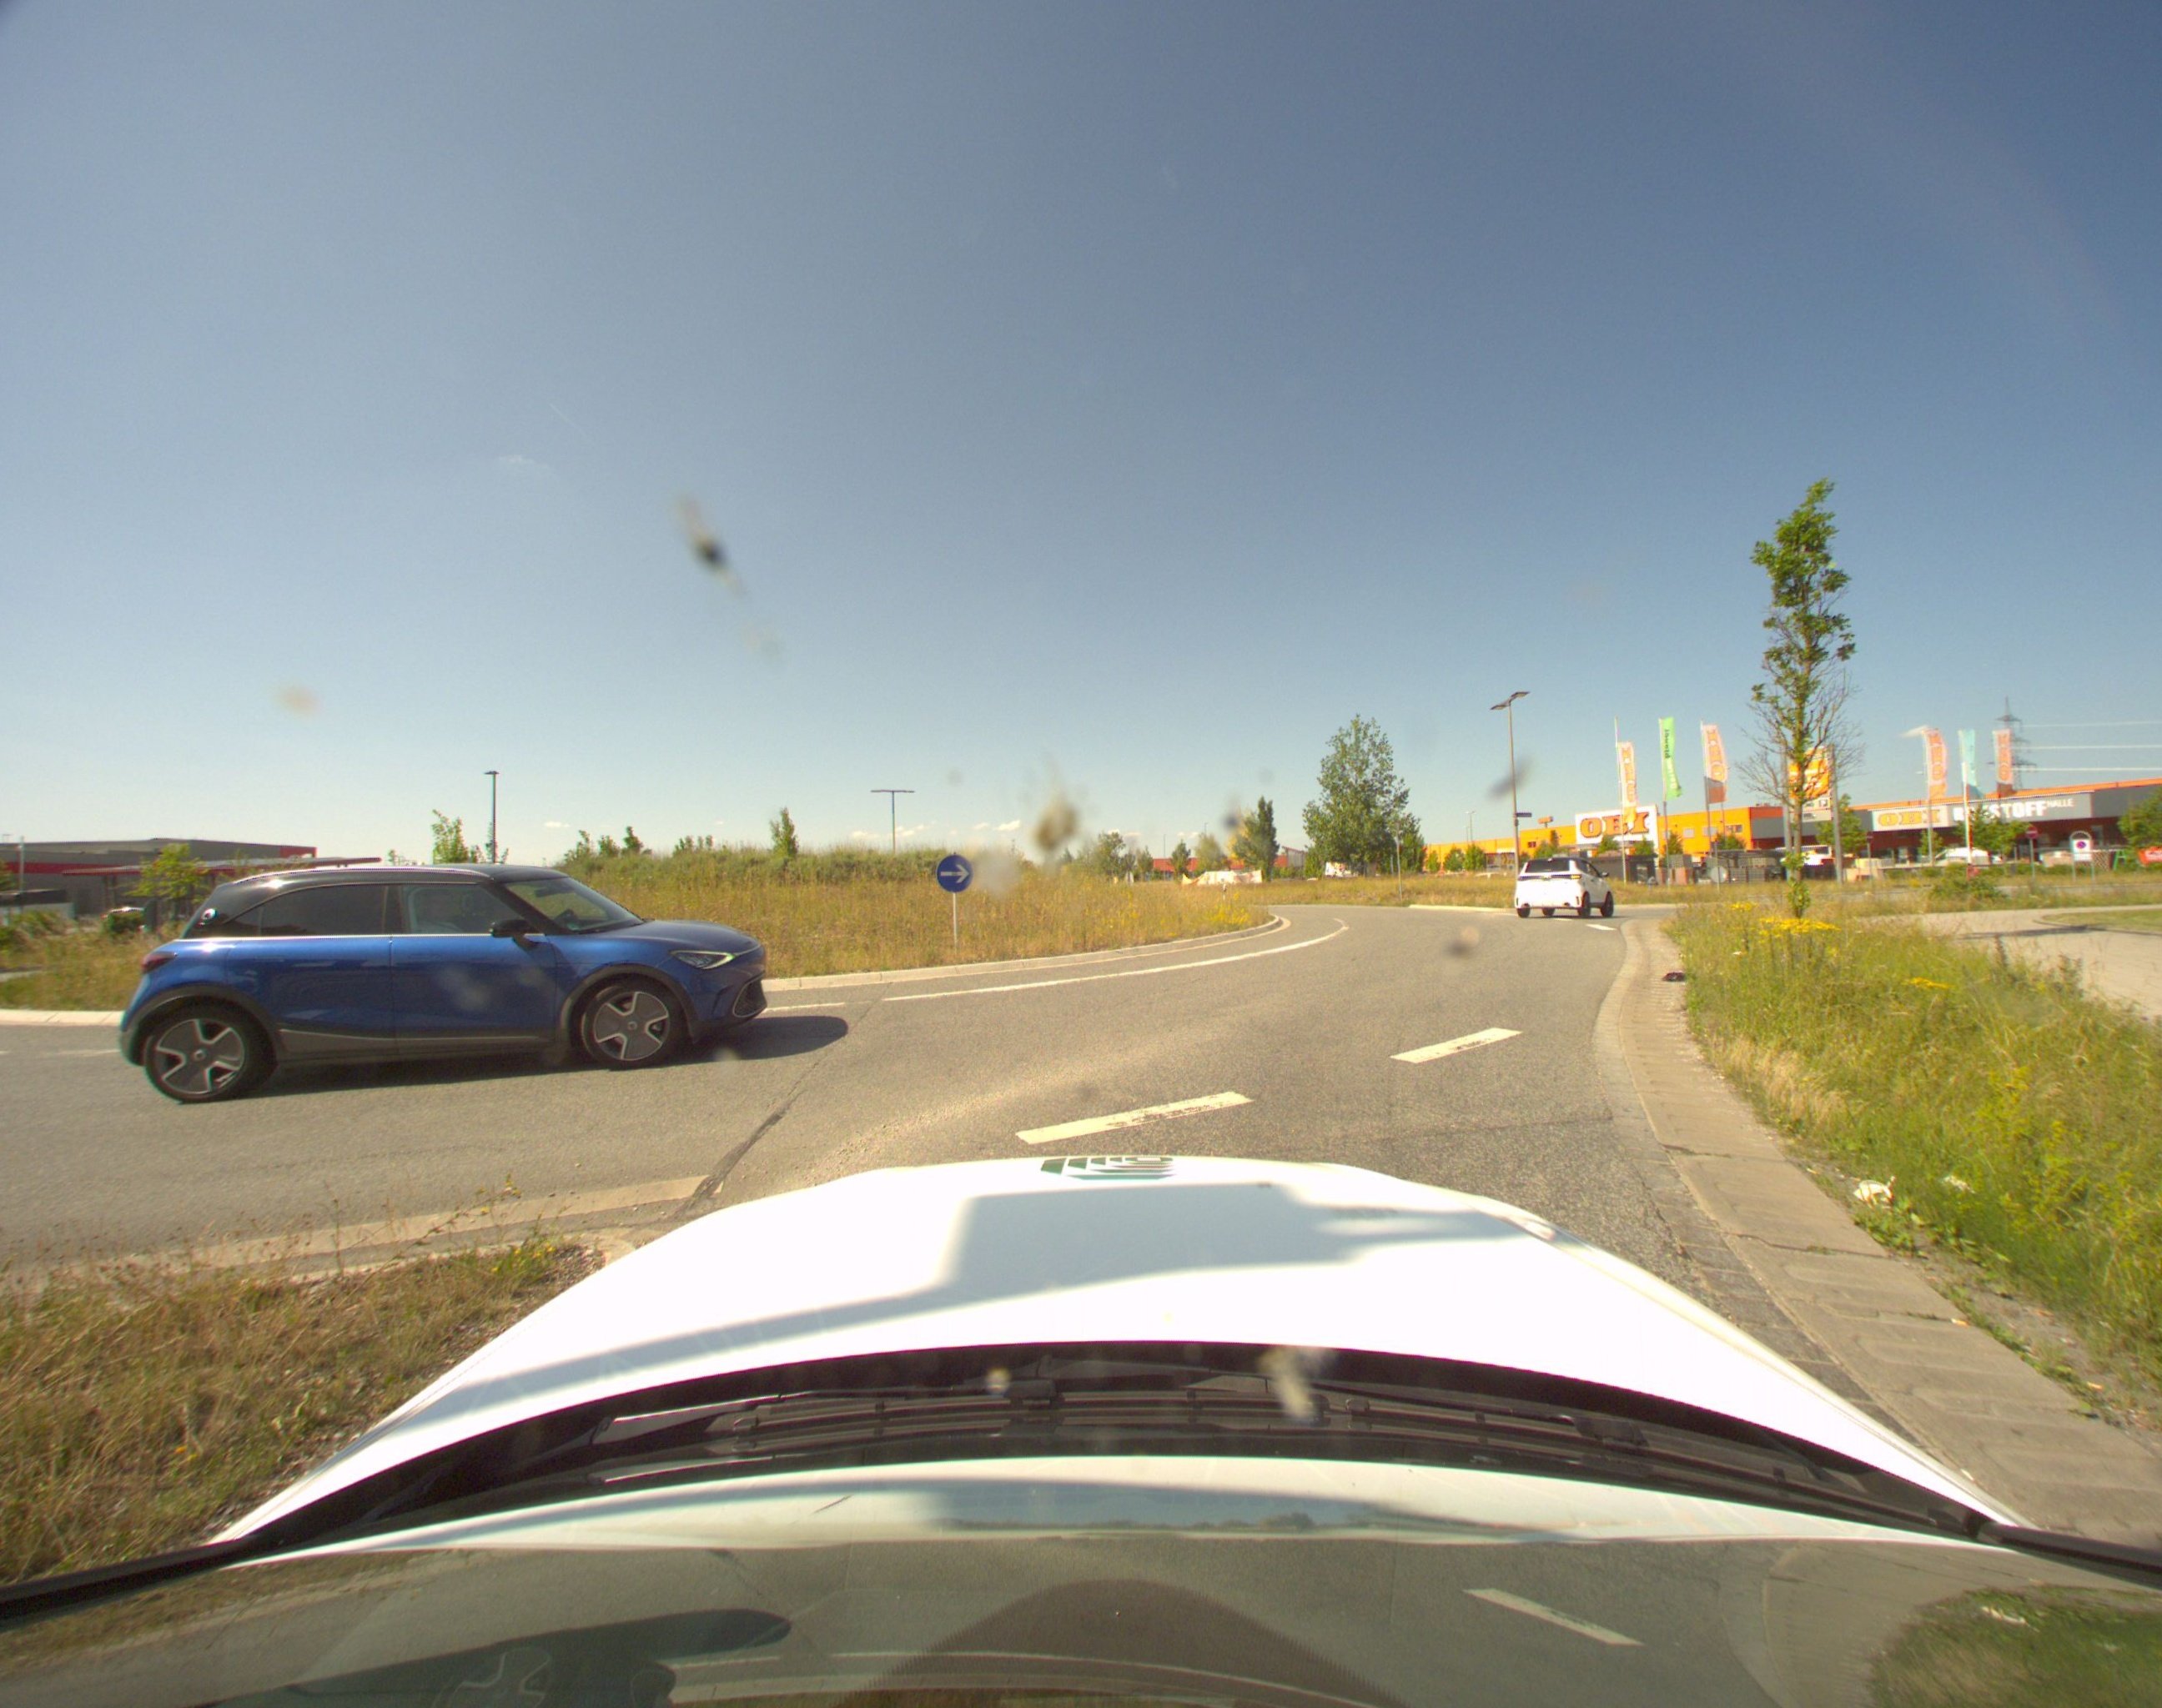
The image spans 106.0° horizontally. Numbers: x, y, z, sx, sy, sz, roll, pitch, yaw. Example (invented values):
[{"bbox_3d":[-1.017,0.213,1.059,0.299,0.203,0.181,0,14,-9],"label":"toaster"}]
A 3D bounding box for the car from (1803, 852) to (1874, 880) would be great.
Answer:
[{"bbox_3d":[51.918,0.847,55.849,3.765,1.841,1.693,1,-3,-13],"label":"car"}]

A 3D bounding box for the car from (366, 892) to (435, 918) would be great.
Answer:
[{"bbox_3d":[-55.888,4.162,66.998,1.993,2.014,5.119,-1,-2,-9],"label":"car"}]

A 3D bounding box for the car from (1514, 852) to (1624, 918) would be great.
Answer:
[{"bbox_3d":[12.112,0.704,20.136,3.370,1.440,1.495,-1,0,-44],"label":"car"}]

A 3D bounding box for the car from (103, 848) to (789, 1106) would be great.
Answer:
[{"bbox_3d":[-4.766,0.842,6.788,4.066,1.635,1.851,-2,-1,-10],"label":"car"}]
